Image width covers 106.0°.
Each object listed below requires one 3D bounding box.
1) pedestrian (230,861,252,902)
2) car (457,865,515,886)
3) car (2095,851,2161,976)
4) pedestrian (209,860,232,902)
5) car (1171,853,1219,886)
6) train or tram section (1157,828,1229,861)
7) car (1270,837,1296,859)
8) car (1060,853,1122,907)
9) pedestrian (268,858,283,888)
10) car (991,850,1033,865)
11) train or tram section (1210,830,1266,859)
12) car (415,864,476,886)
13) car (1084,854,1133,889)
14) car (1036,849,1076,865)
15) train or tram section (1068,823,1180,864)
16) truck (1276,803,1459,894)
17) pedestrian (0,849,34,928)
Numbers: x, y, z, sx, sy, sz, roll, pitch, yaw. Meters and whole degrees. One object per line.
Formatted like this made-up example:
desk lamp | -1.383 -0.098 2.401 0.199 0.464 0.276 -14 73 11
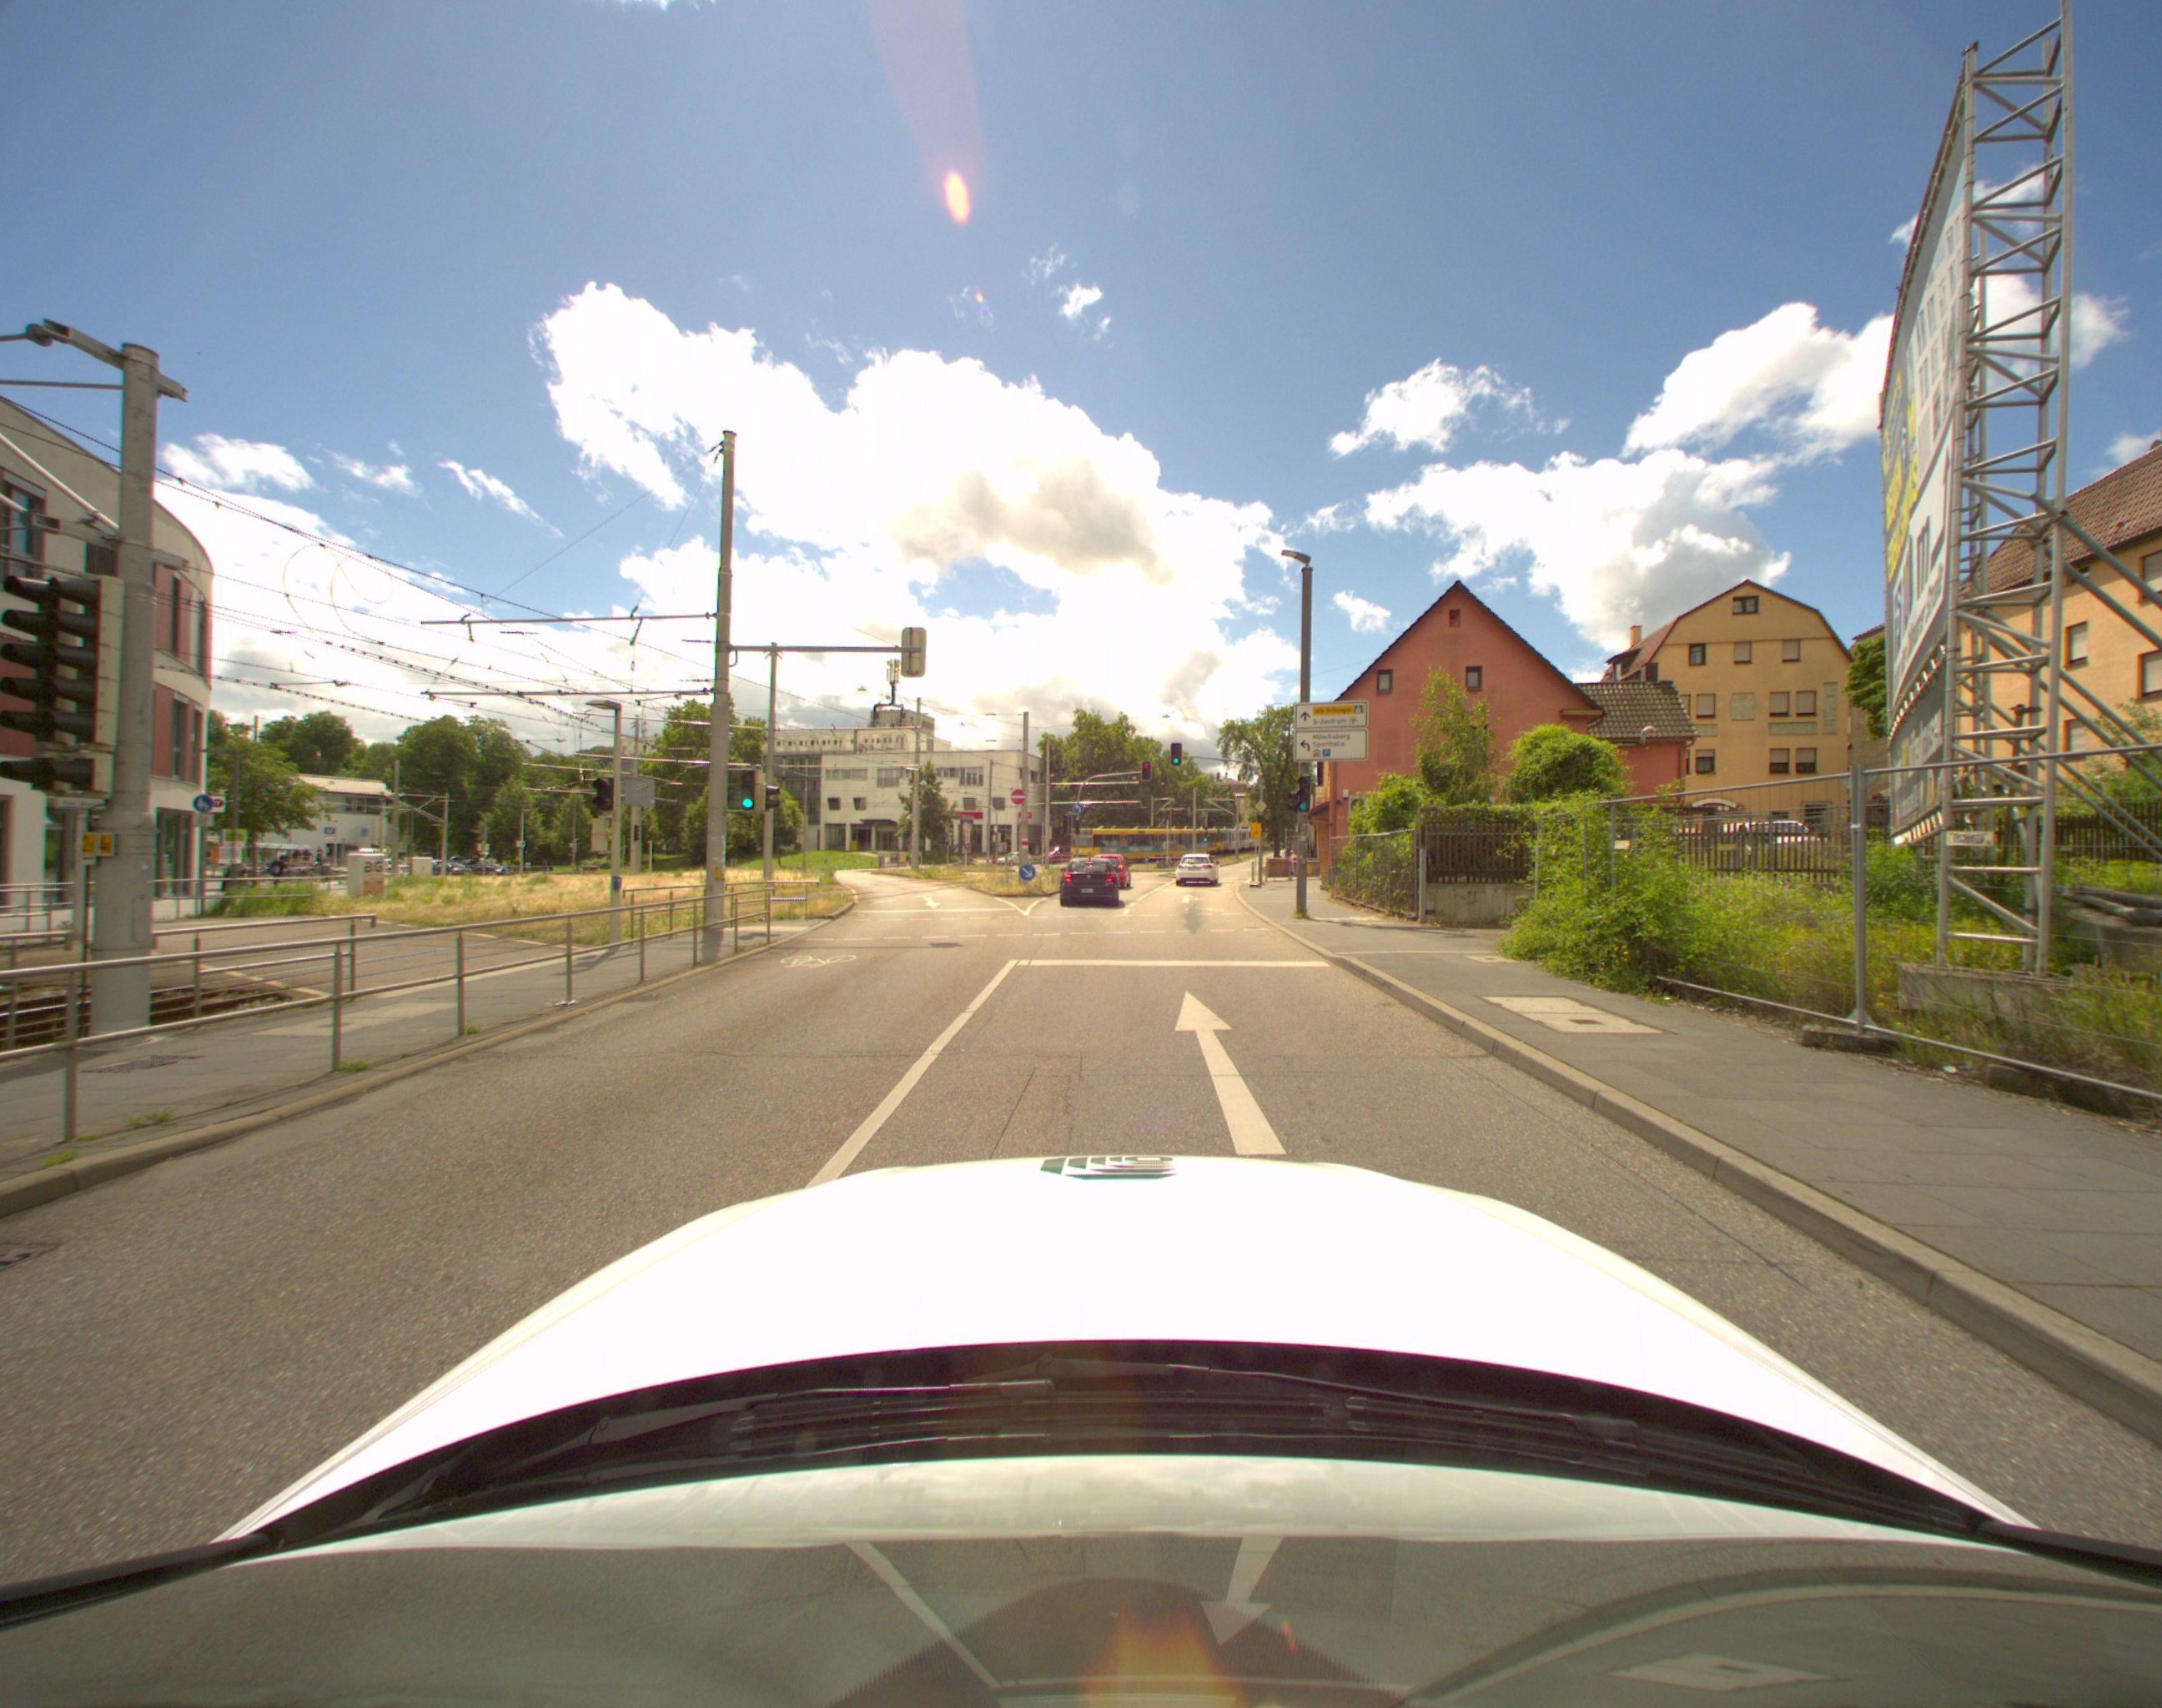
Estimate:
pedestrian | -31.709 1.024 30.753 0.471 1.531 0.401 4 -3 -42
car | -54.624 1.985 74.816 4.173 1.768 2.007 2 -2 14
car | 10.313 0.546 6.656 1.067 1.121 2.448 -1 0 3
pedestrian | -32.110 0.997 30.391 0.471 1.531 0.453 4 -3 -42
car | 5.432 0.705 38.448 1.875 1.465 4.083 0 -1 13
train or tram section | 14.037 -1.154 99.417 2.672 3.750 18.471 1 1 27
car | 19.997 -0.639 80.551 1.977 2.013 4.020 2 2 20
car | 0.323 0.732 24.603 1.720 1.456 3.809 0 1 1
pedestrian | -41.699 1.000 42.160 0.471 1.531 0.401 4 -3 -41
car | -7.027 0.339 83.198 1.975 1.464 4.023 1 0 44
train or tram section | 22.583 -1.343 115.829 2.672 3.750 18.471 1 1 27
car | -56.319 1.843 72.217 4.173 1.768 2.007 2 -2 14
car | 1.247 0.720 35.104 1.702 1.393 3.818 0 1 8
car | -2.674 0.305 88.036 1.975 1.600 4.224 1 1 43
train or tram section | 4.863 -1.038 83.524 2.671 3.750 18.477 1 1 32
truck | 15.741 -0.276 45.208 8.977 4.536 3.210 2 -1 -3
pedestrian | -22.071 0.683 16.349 0.852 1.572 0.857 3 -2 -12
